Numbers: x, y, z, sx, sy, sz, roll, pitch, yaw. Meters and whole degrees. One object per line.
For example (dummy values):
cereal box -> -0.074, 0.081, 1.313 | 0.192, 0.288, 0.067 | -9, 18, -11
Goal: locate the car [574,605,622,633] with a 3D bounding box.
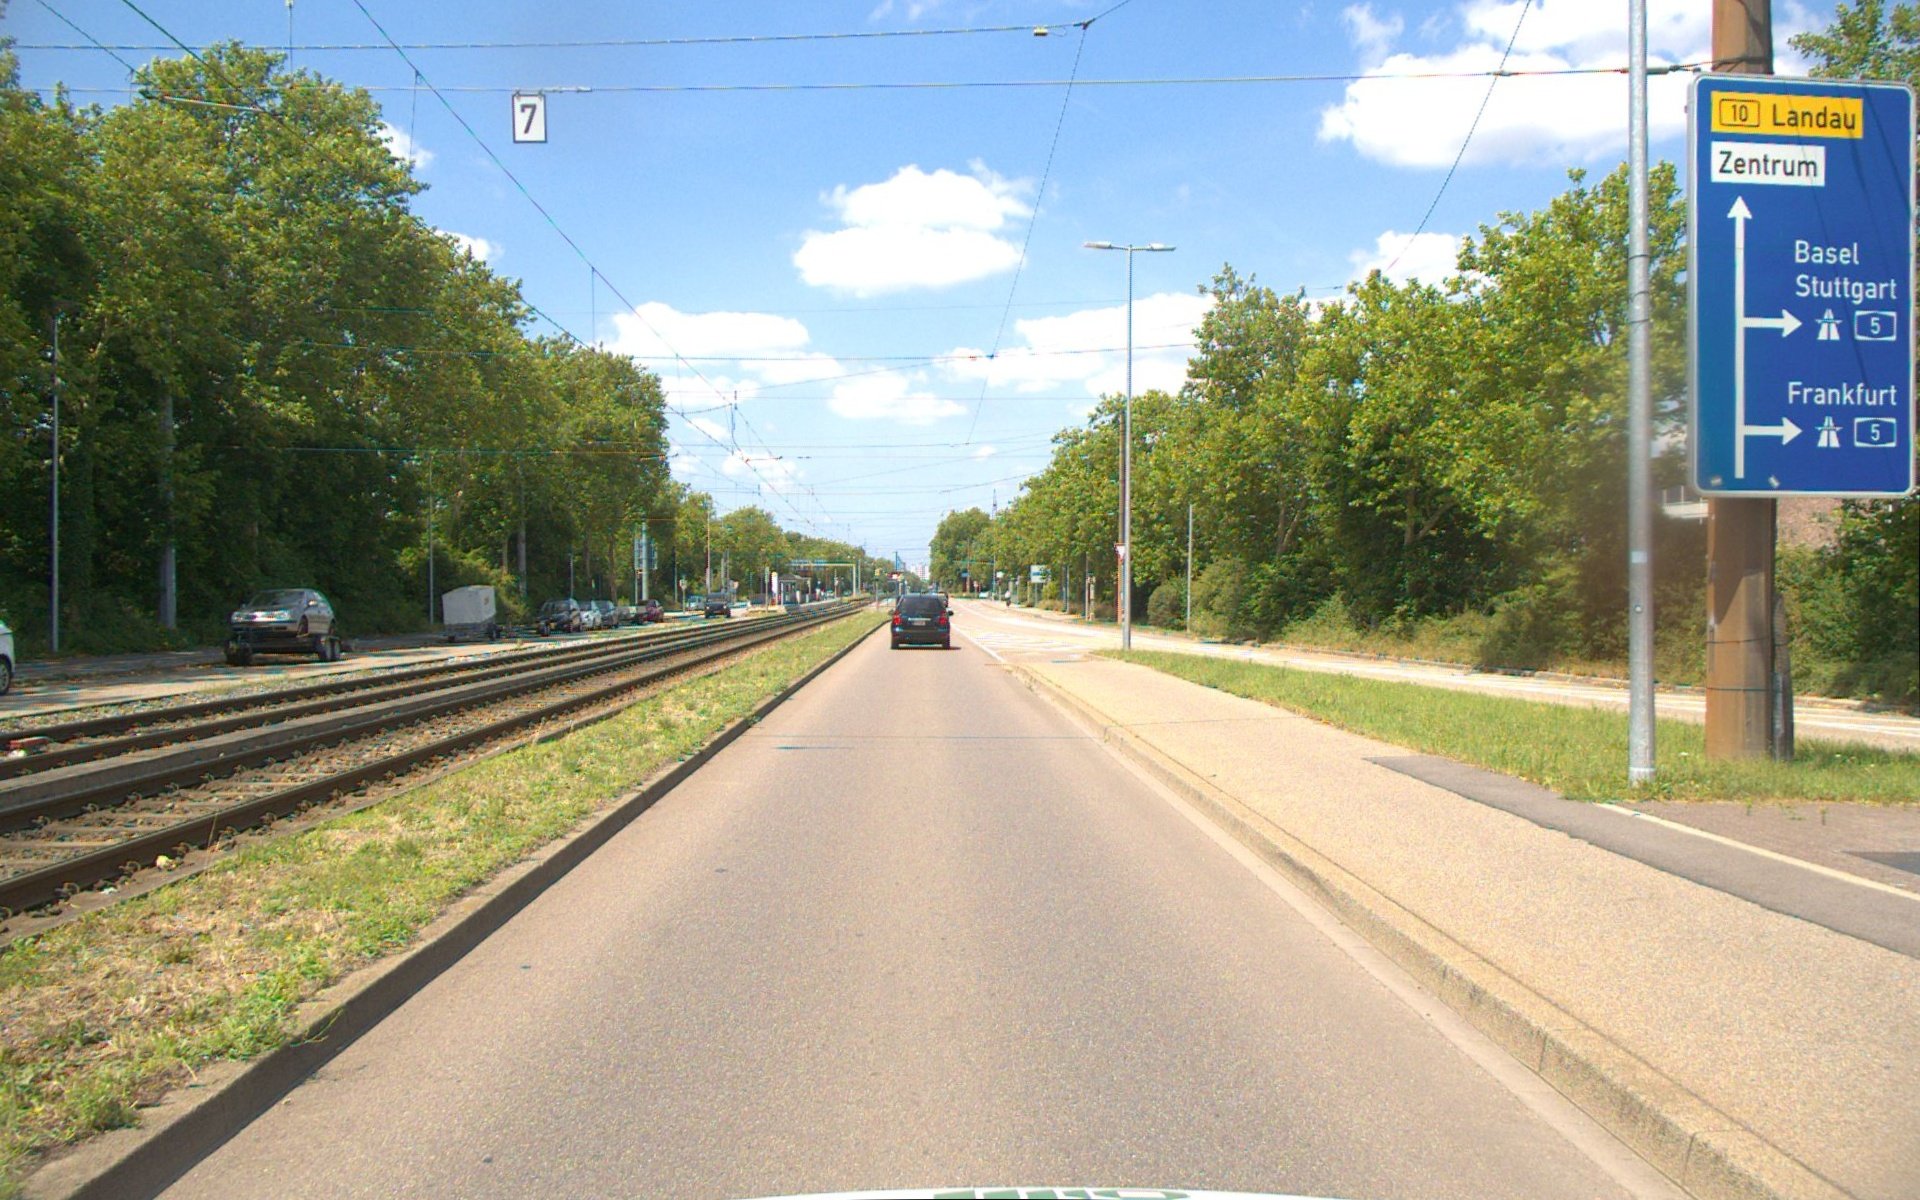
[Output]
car -> -19.476, 1.003, 89.110 | 1.833, 1.425, 4.415 | 0, 0, -4

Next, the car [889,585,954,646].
car -> -1.109, 0.429, 49.086 | 1.815, 1.597, 4.388 | 1, 2, -1

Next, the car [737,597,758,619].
car -> -21.606, 0.796, 168.306 | 1.955, 2.048, 3.995 | 1, 1, -6

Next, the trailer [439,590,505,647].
trailer -> -18.364, 0.664, 62.392 | 1.578, 2.049, 3.912 | 1, 0, -4

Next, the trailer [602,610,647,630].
trailer -> -19.880, 1.164, 98.210 | 1.855, 1.062, 5.100 | 1, 0, -3

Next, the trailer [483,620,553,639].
trailer -> -18.404, 1.238, 69.086 | 1.953, 0.755, 3.998 | 0, -1, -2

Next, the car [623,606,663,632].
car -> -20.531, 1.205, 107.273 | 1.953, 1.601, 3.998 | 0, 0, -2

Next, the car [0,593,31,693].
car -> -16.871, 0.800, 26.291 | 1.685, 1.659, 4.614 | -3, 1, -3

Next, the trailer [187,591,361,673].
trailer -> -17.249, 0.765, 41.975 | 2.414, 1.922, 5.954 | 0, 0, -6

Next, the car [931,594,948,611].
car -> -2.270, 0.300, 185.400 | 1.846, 1.668, 4.000 | 3, 1, -1

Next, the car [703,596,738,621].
car -> -18.394, 0.635, 127.354 | 2.074, 1.821, 5.403 | 0, 0, -2

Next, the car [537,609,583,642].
car -> -18.665, 1.158, 77.244 | 1.405, 1.477, 3.918 | 0, 0, -3

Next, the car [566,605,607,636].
car -> -18.817, 1.023, 83.515 | 1.405, 1.477, 3.738 | 0, 0, -3

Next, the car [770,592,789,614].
car -> -17.701, 0.305, 162.536 | 1.554, 2.048, 4.108 | 1, 1, -3

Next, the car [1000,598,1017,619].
car -> 5.201, 0.893, 177.585 | 1.580, 2.048, 3.438 | 1, 1, -2

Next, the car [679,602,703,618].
car -> -28.606, 1.035, 175.887 | 1.953, 1.601, 3.999 | 0, 0, -1
